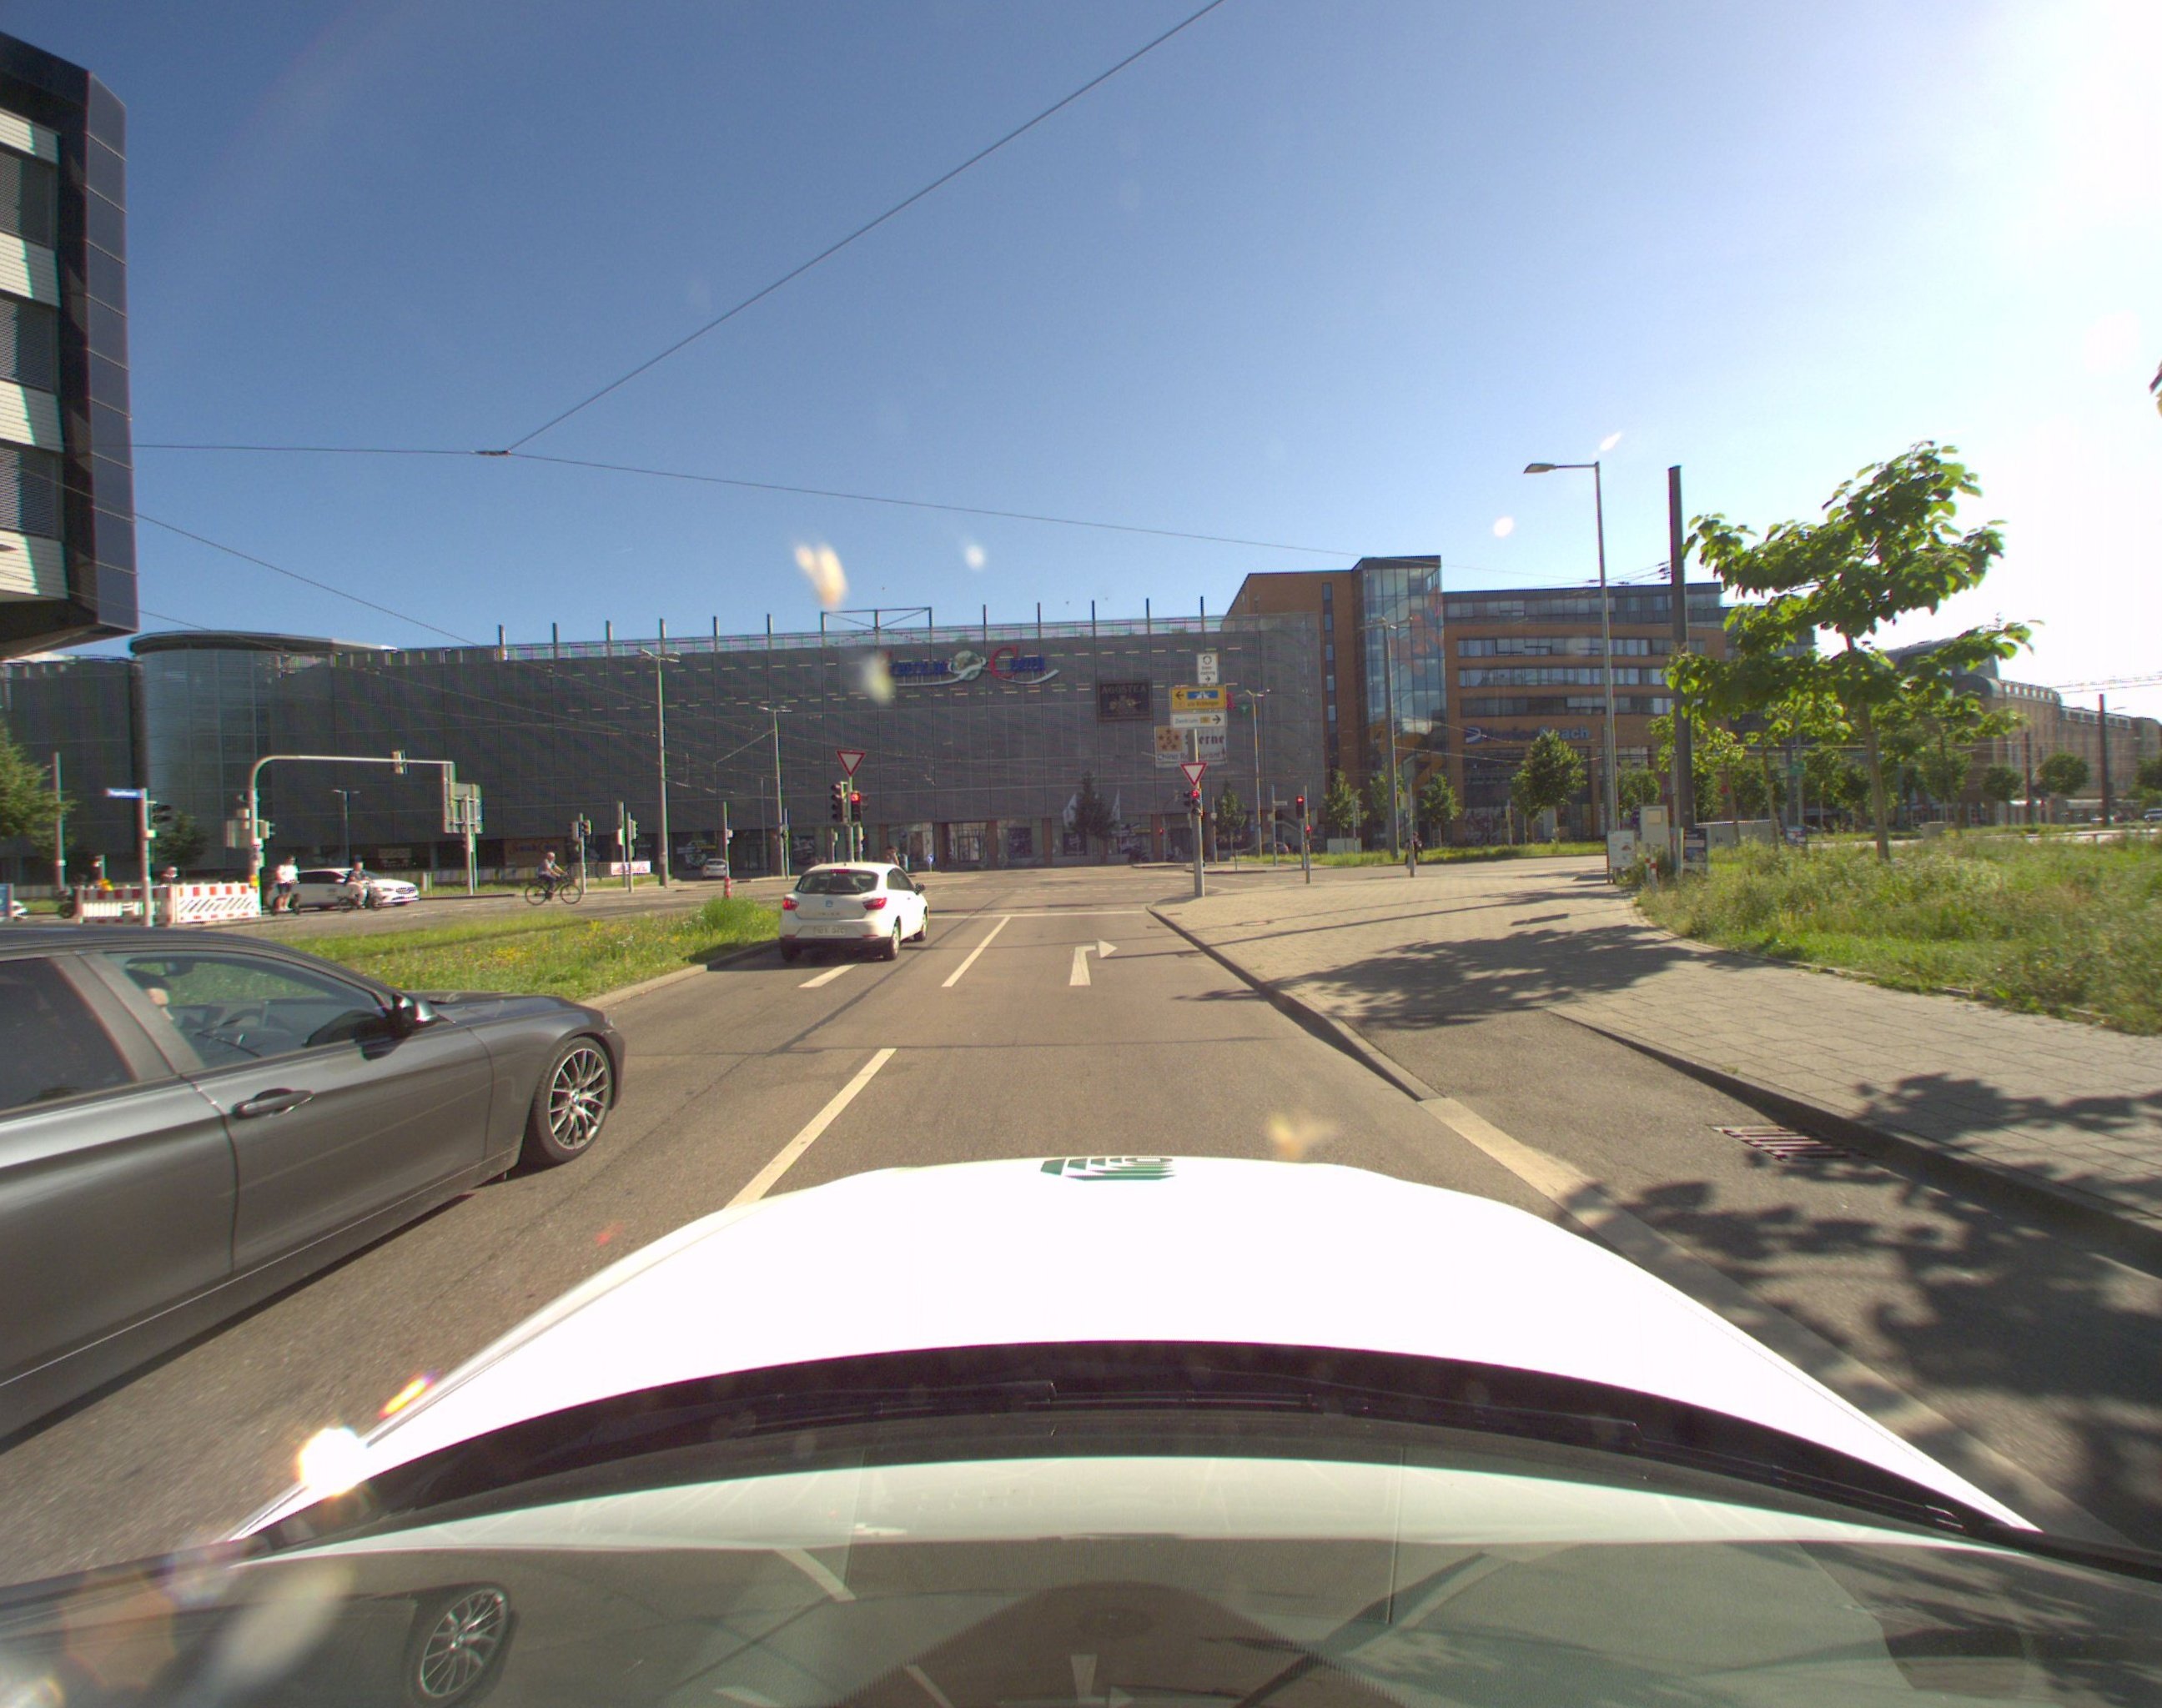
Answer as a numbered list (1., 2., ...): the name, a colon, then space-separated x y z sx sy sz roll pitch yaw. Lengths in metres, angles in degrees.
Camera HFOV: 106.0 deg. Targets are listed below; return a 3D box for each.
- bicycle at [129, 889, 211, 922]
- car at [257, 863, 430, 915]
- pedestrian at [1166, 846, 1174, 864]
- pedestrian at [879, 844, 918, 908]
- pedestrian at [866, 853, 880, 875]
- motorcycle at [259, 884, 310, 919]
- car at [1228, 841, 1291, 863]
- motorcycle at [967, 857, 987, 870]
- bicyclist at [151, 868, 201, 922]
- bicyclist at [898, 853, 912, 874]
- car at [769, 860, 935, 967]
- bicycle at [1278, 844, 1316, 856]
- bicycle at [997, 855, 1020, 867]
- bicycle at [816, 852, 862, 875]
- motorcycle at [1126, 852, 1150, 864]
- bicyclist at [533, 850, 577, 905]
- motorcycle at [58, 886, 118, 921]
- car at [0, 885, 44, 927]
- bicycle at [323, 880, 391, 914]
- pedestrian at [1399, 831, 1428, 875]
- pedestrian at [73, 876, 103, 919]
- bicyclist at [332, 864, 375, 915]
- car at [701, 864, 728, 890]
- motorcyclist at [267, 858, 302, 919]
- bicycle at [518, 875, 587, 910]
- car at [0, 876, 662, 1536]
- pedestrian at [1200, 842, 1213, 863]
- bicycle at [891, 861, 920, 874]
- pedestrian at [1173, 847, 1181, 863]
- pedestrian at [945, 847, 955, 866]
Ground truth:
1. bicycle: -30.973 1.751 27.704 1.921 1.036 0.694 1 0 -3
2. car: -27.268 1.271 30.238 4.480 1.634 1.837 -2 1 -4
3. pedestrian: 7.968 0.093 72.808 0.587 1.534 0.658 -2 0 -1
4. pedestrian: -5.073 0.605 22.696 0.883 1.707 0.712 -2 0 -2
5. pedestrian: -18.113 0.851 70.916 0.894 1.868 0.826 -2 0 42
6. motorcycle: -26.937 1.605 27.551 1.183 1.121 0.483 -2 0 -2
7. car: 13.594 -0.153 62.146 4.474 1.494 1.494 -2 0 -1
8. motorcycle: -9.168 0.834 71.741 1.642 1.059 0.498 -2 0 8
9. bicyclist: -30.793 1.375 27.726 0.762 1.789 0.762 -2 0 -5
10. bicyclist: -15.327 0.794 70.765 0.850 1.803 0.806 -2 0 -43
11. car: -3.496 0.835 13.123 1.627 1.423 3.780 1 0 -1
12. bicycle: 20.658 -0.411 77.902 3.344 1.077 1.118 -1 1 5
13. bicycle: -6.825 0.617 76.535 2.020 1.059 1.144 -2 0 -2
14. bicycle: -23.025 0.894 77.530 3.975 2.013 1.329 -1 1 -1
15. motorcycle: 5.364 0.405 77.087 2.196 1.042 1.061 -1 1 -1
16. bicyclist: -18.436 0.800 28.560 0.899 1.859 0.854 -2 0 -1
17. motorcycle: -39.851 1.972 32.691 1.603 1.298 0.600 -2 0 -1
18. car: -41.467 1.995 29.954 4.064 1.464 1.912 -2 0 -1
19. bicycle: -24.512 1.456 27.598 1.573 1.107 0.733 0 0 -4
20. pedestrian: 13.330 -0.039 32.676 0.804 1.708 0.761 -2 0 -1
21. pedestrian: -39.840 1.747 32.667 0.684 1.668 0.368 -2 0 -2
22. bicyclist: -24.620 1.190 27.556 0.781 1.648 0.689 -2 0 -3
23. car: -27.176 1.668 60.391 1.760 1.794 3.969 0 0 -24
24. motorcyclist: -26.944 1.151 27.554 0.626 2.013 0.497 -2 0 -1
25. bicycle: -18.511 1.324 28.546 1.823 1.116 0.853 -2 0 -1
26. car: -3.388 0.864 2.682 1.729 1.423 4.465 1 0 -1
27. pedestrian: 11.054 -0.139 71.663 0.853 1.738 0.752 -2 0 -7
28. bicycle: -15.247 1.162 70.767 2.257 1.070 1.034 -2 0 -42
29. pedestrian: 8.647 0.086 73.300 0.587 1.462 0.658 -2 0 -1
30. pedestrian: -12.394 0.235 77.158 0.846 1.763 0.620 -2 0 -2
